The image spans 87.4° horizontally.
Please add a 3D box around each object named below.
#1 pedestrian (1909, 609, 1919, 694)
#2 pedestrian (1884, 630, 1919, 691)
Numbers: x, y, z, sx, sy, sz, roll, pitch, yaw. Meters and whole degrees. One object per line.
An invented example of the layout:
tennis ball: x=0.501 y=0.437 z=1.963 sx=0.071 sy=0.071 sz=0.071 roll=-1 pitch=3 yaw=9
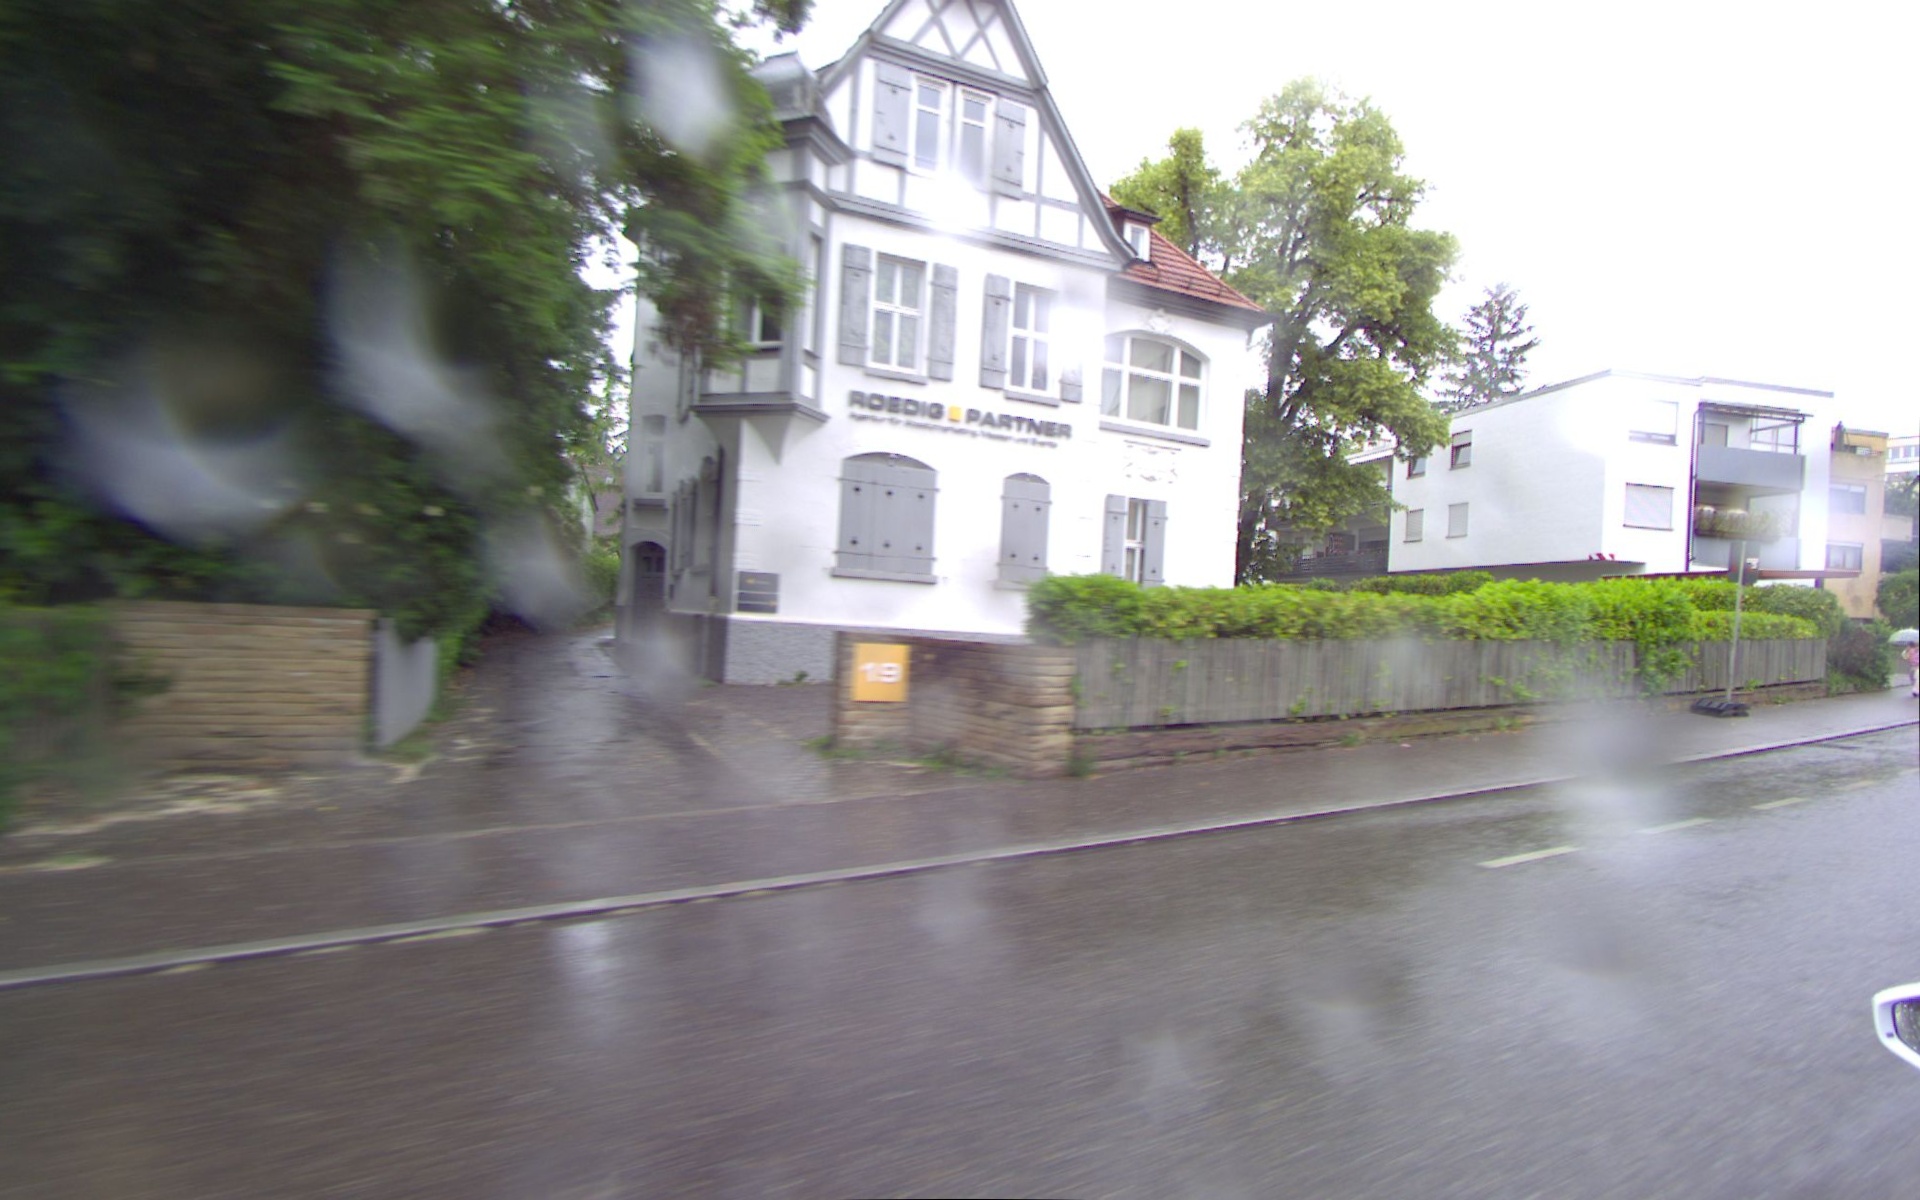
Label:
pedestrian: x=19.659 y=1.052 z=20.056 sx=1.029 sy=1.666 sz=0.751 roll=1 pitch=3 yaw=-35
pedestrian: x=20.038 y=1.264 z=21.039 sx=1.029 sy=1.196 sz=0.751 roll=1 pitch=3 yaw=-35
